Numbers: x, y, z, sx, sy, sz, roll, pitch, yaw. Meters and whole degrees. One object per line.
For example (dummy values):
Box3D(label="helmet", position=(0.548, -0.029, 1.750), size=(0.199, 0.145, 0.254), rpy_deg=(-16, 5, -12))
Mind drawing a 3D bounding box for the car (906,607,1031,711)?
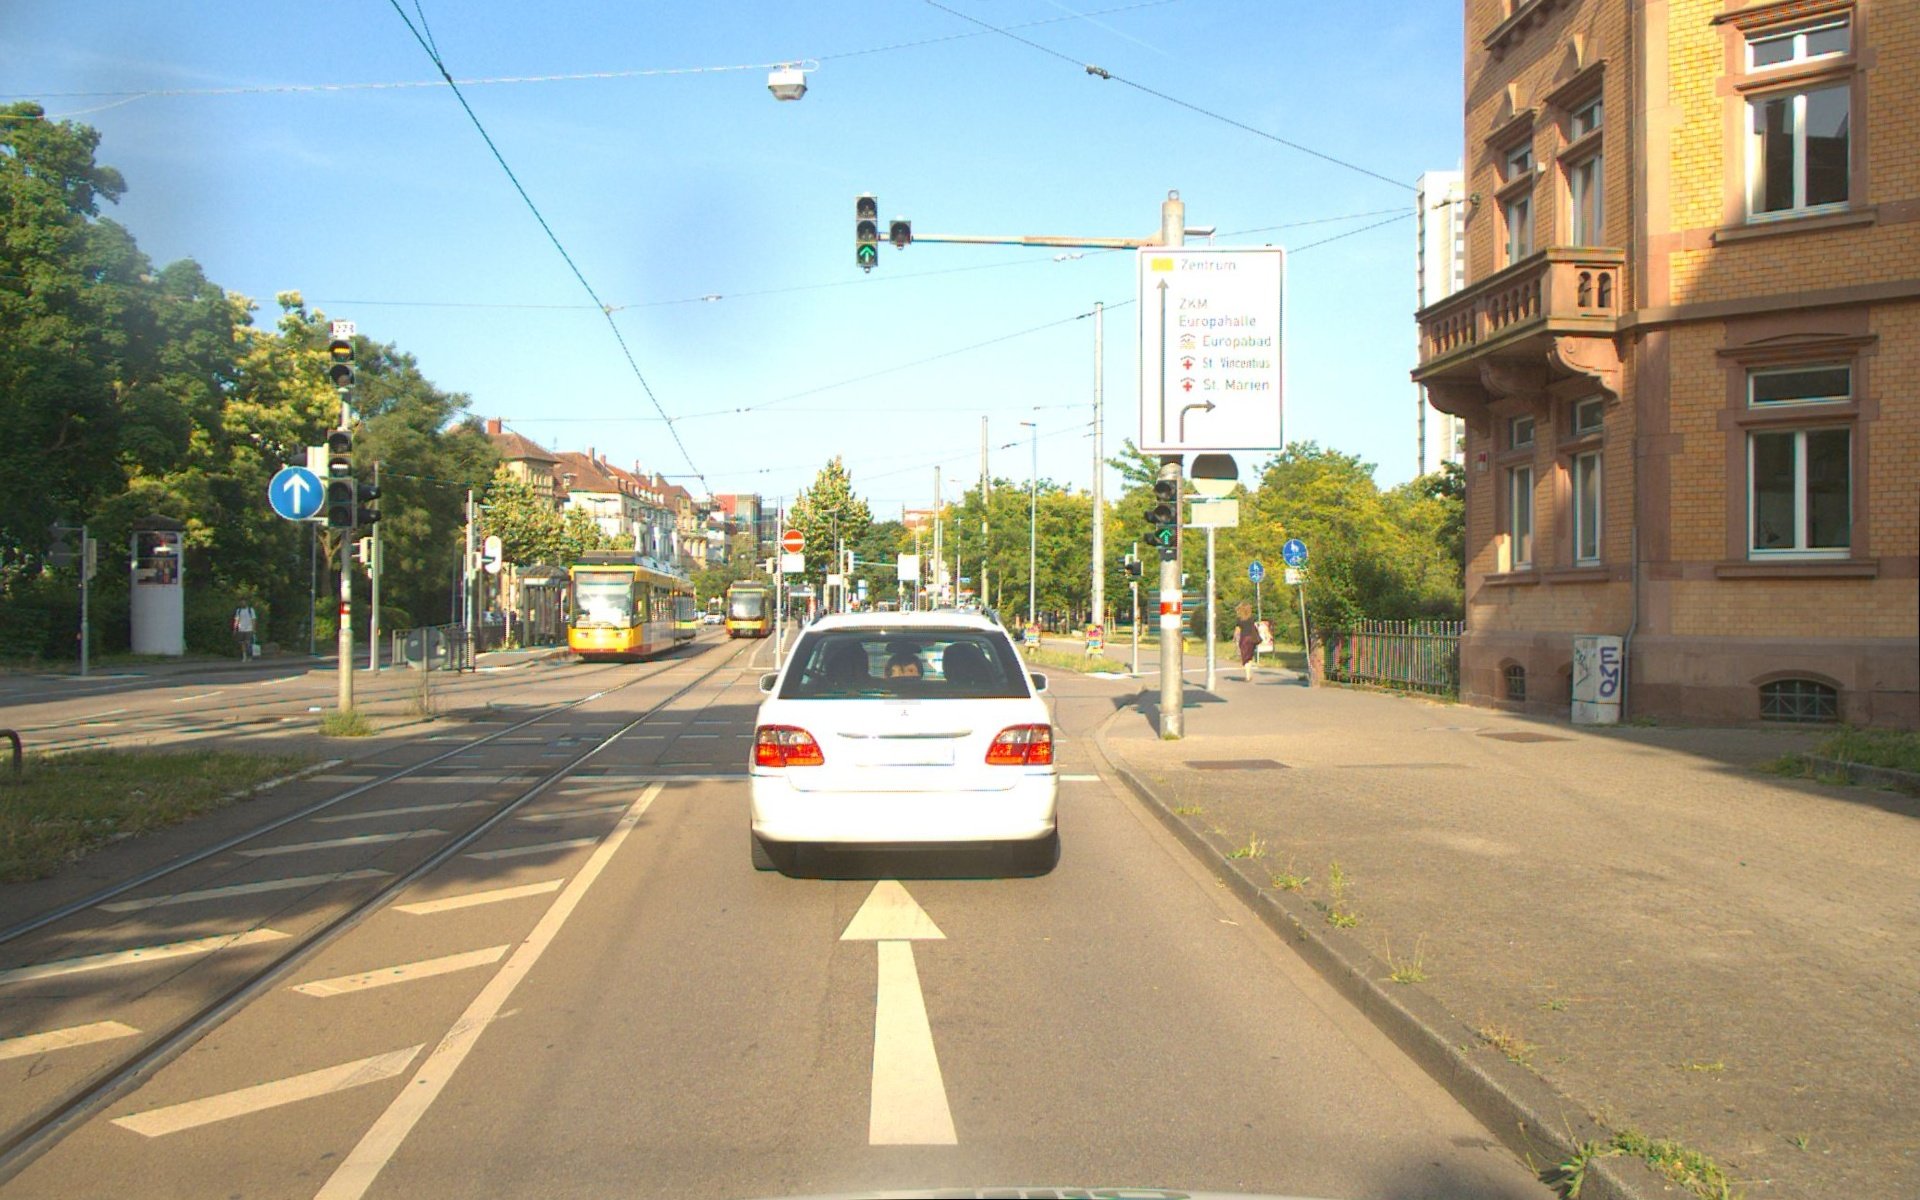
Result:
Box3D(label="car", position=(0.079, 0.952, 28.543), size=(1.992, 1.633, 3.998), rpy_deg=(1, 0, -2))

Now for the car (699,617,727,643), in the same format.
Box3D(label="car", position=(-27.756, 3.376, 186.087), size=(2.546, 2.783, 7.460), rpy_deg=(1, 0, -5))

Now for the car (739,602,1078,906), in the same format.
Box3D(label="car", position=(-0.382, 0.783, 10.419), size=(1.723, 1.530, 3.997), rpy_deg=(0, 0, -4))

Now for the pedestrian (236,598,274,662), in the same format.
Box3D(label="pedestrian", position=(-21.690, 0.921, 50.881), size=(0.987, 1.943, 0.704), rpy_deg=(1, -1, -19))

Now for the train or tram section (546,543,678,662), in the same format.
Box3D(label="train or tram section", position=(-11.672, 0.093, 56.916), size=(3.101, 3.540, 14.510), rpy_deg=(1, 0, -7))

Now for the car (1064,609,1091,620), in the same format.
Box3D(label="car", position=(17.232, 2.141, 242.698), size=(3.902, 1.680, 2.002), rpy_deg=(0, -1, 8))

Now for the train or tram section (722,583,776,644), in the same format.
Box3D(label="train or tram section", position=(-13.369, 0.815, 105.800), size=(2.794, 3.540, 13.186), rpy_deg=(2, 0, -5))

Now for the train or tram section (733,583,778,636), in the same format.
Box3D(label="train or tram section", position=(-14.572, 0.664, 118.823), size=(2.794, 3.540, 13.183), rpy_deg=(1, 0, -6))

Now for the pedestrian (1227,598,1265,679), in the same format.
Box3D(label="pedestrian", position=(6.313, 0.844, 36.490), size=(0.603, 1.721, 0.548), rpy_deg=(-4, 0, -2))

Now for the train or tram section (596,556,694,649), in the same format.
Box3D(label="train or tram section", position=(-13.377, 0.125, 71.383), size=(3.101, 3.540, 14.449), rpy_deg=(1, 0, -7))
